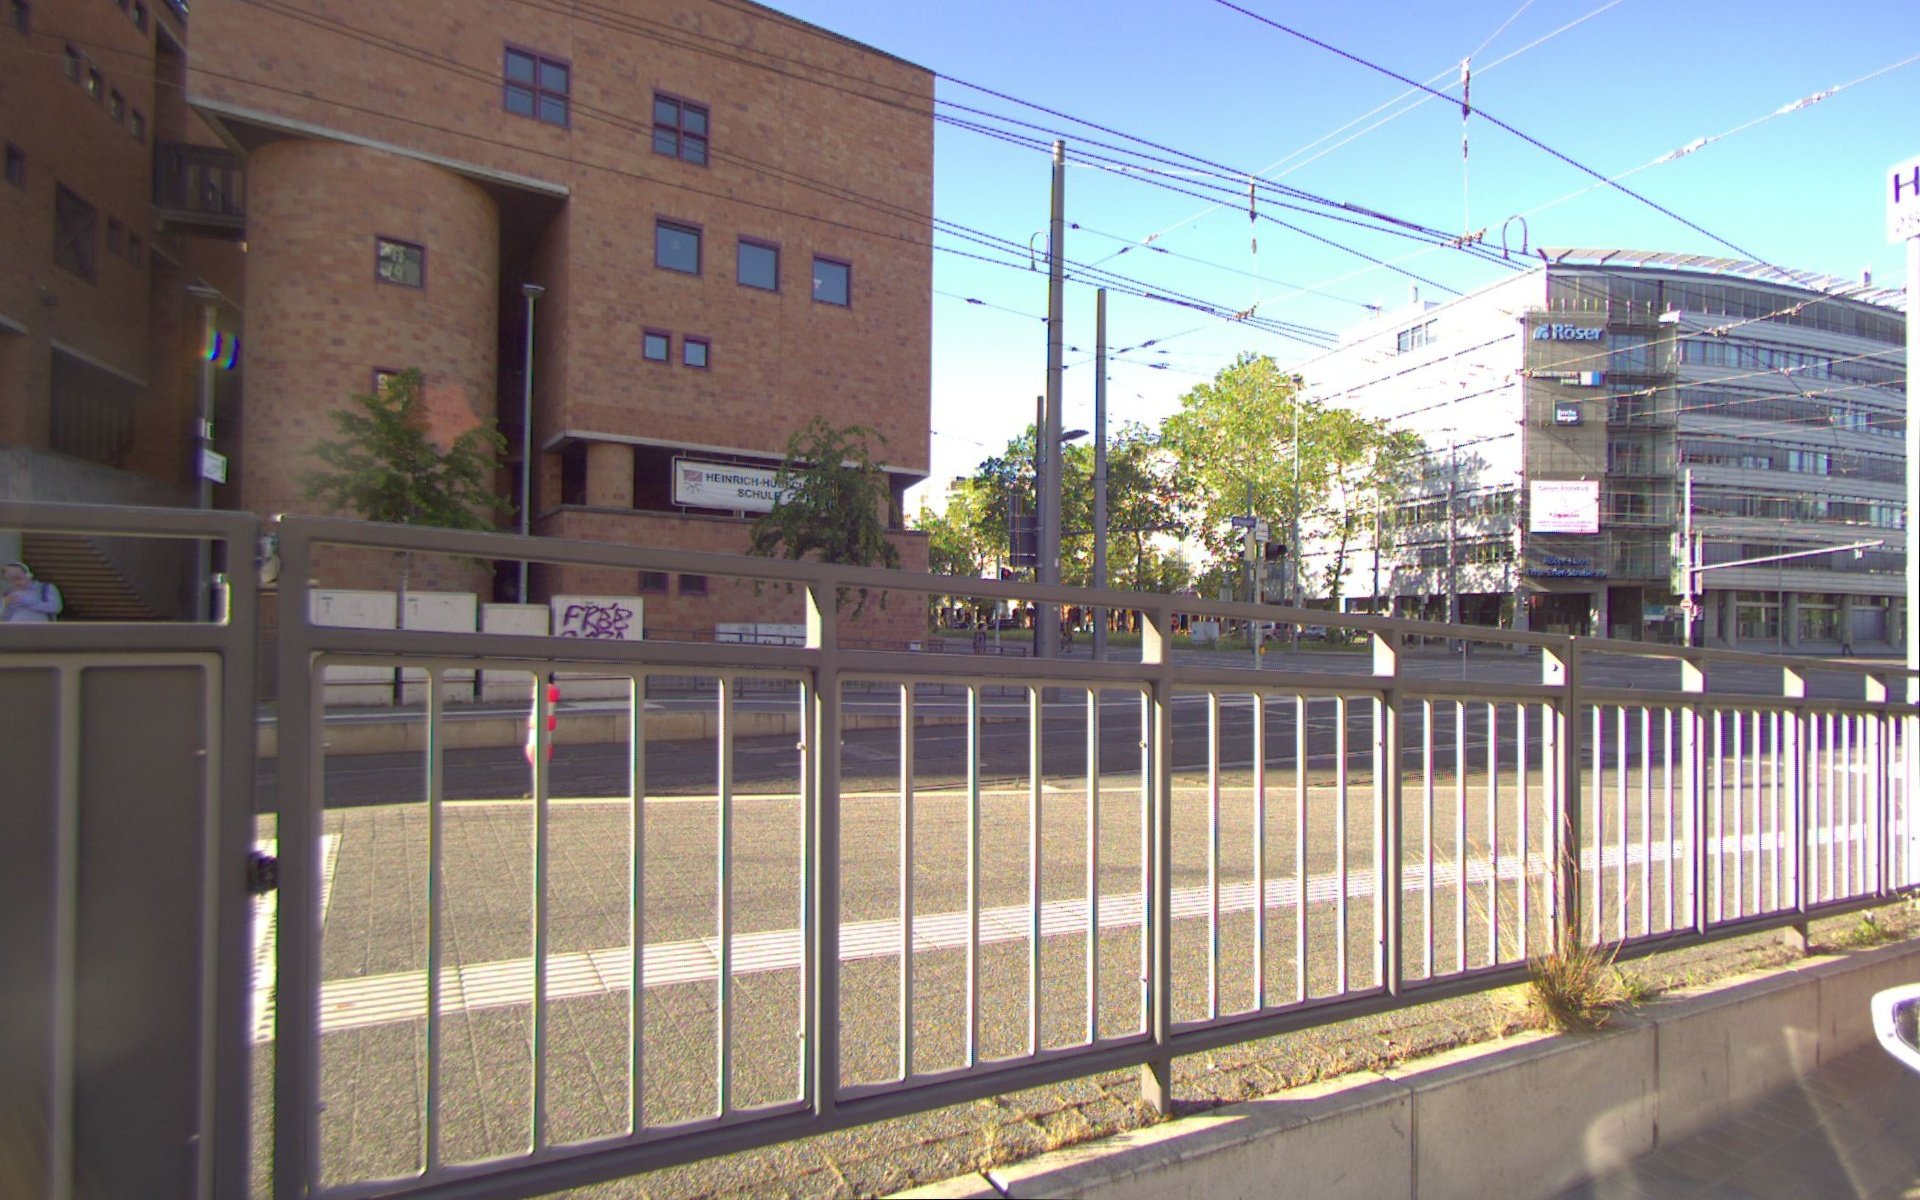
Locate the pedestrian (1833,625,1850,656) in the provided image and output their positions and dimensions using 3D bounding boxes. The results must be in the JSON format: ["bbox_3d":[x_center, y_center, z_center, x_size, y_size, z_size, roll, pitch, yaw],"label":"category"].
[{"bbox_3d":[60.044,2.775,68.412,0.745,2.040,0.627,2,0,-30],"label":"pedestrian"}]

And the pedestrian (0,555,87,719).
[{"bbox_3d":[-9.673,0.377,10.519,0.679,1.656,0.662,2,0,-34],"label":"pedestrian"}]

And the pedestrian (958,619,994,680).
[{"bbox_3d":[0.457,1.422,29.040,0.785,1.714,0.587,2,0,-29],"label":"pedestrian"}]

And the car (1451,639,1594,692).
[{"bbox_3d":[13.649,1.558,24.411,2.841,1.077,1.238,2,0,40],"label":"car"}]
